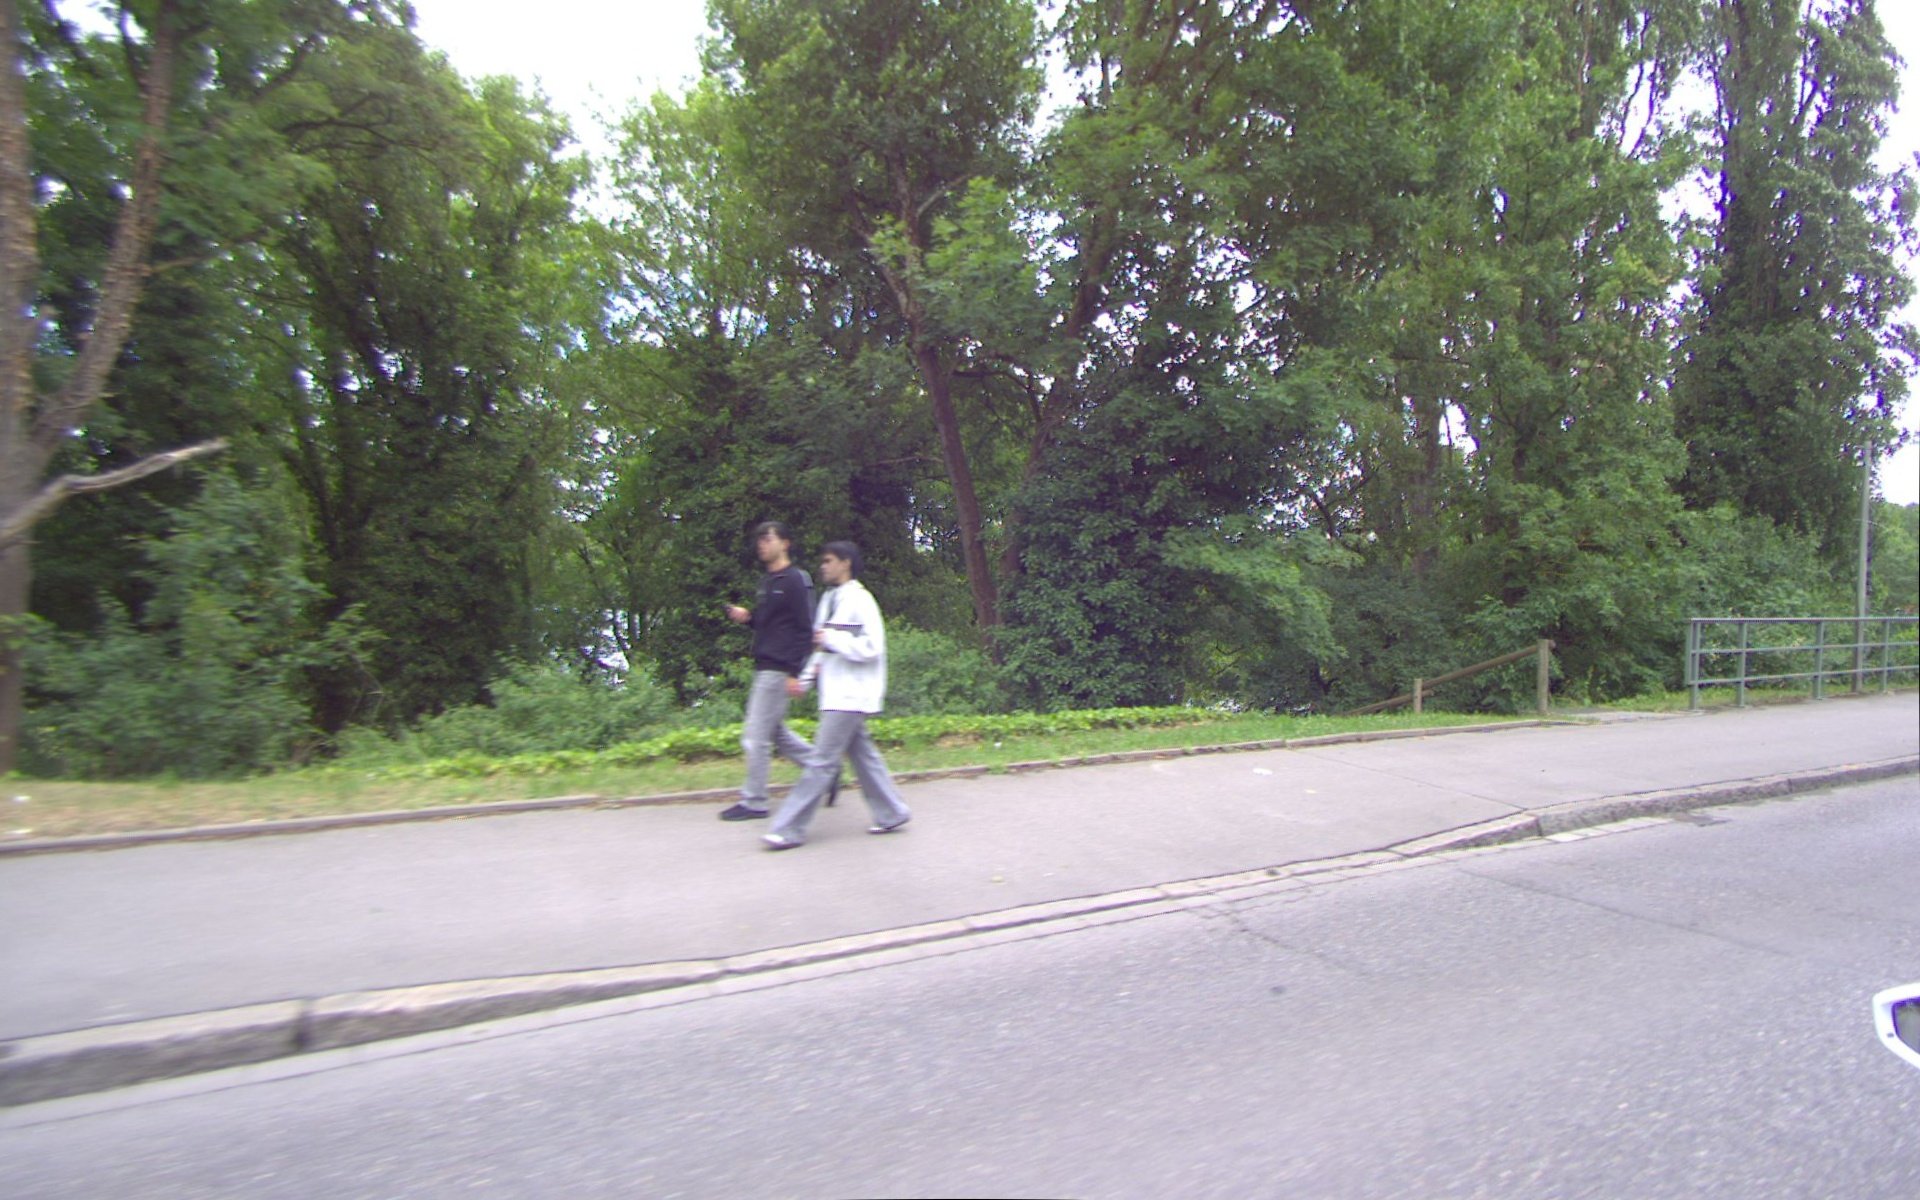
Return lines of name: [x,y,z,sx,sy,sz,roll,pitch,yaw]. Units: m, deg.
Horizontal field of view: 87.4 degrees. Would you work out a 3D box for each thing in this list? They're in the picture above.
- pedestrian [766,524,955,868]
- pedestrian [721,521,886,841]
pedestrian: [-0.570,0.497,5.672,0.848,1.789,0.548,0,6,-31]
pedestrian: [-0.969,0.452,6.176,0.813,1.828,0.584,0,3,-31]
